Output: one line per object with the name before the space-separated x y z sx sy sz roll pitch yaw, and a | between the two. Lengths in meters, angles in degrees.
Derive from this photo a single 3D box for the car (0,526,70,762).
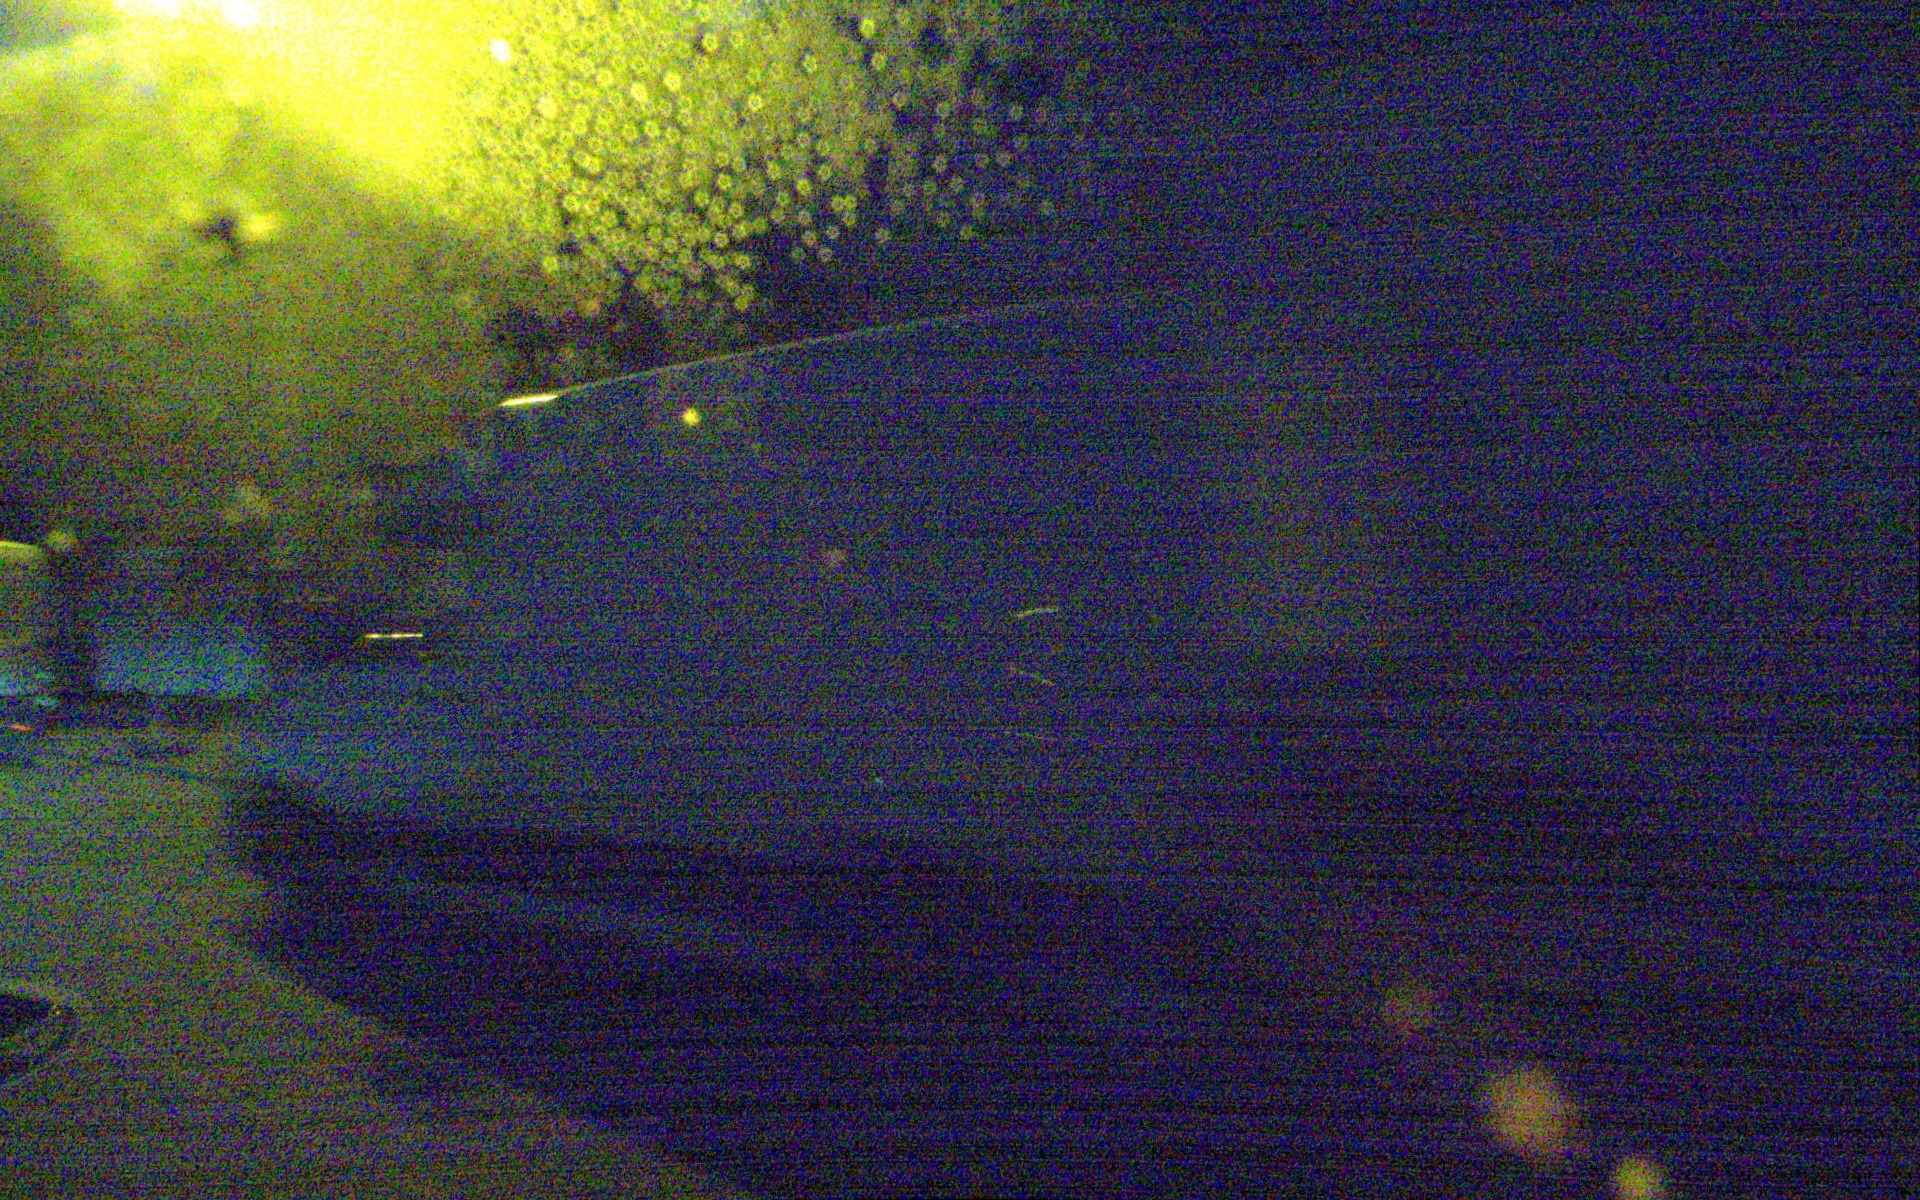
car | -13.053 0.476 12.093 5.828 2.557 1.990 -1 -3 34

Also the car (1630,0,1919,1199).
car | 4.404 0.125 1.166 5.926 2.603 1.992 0 -3 32

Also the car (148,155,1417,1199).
car | -1.113 0.300 4.730 5.819 2.603 2.128 0 -3 29
